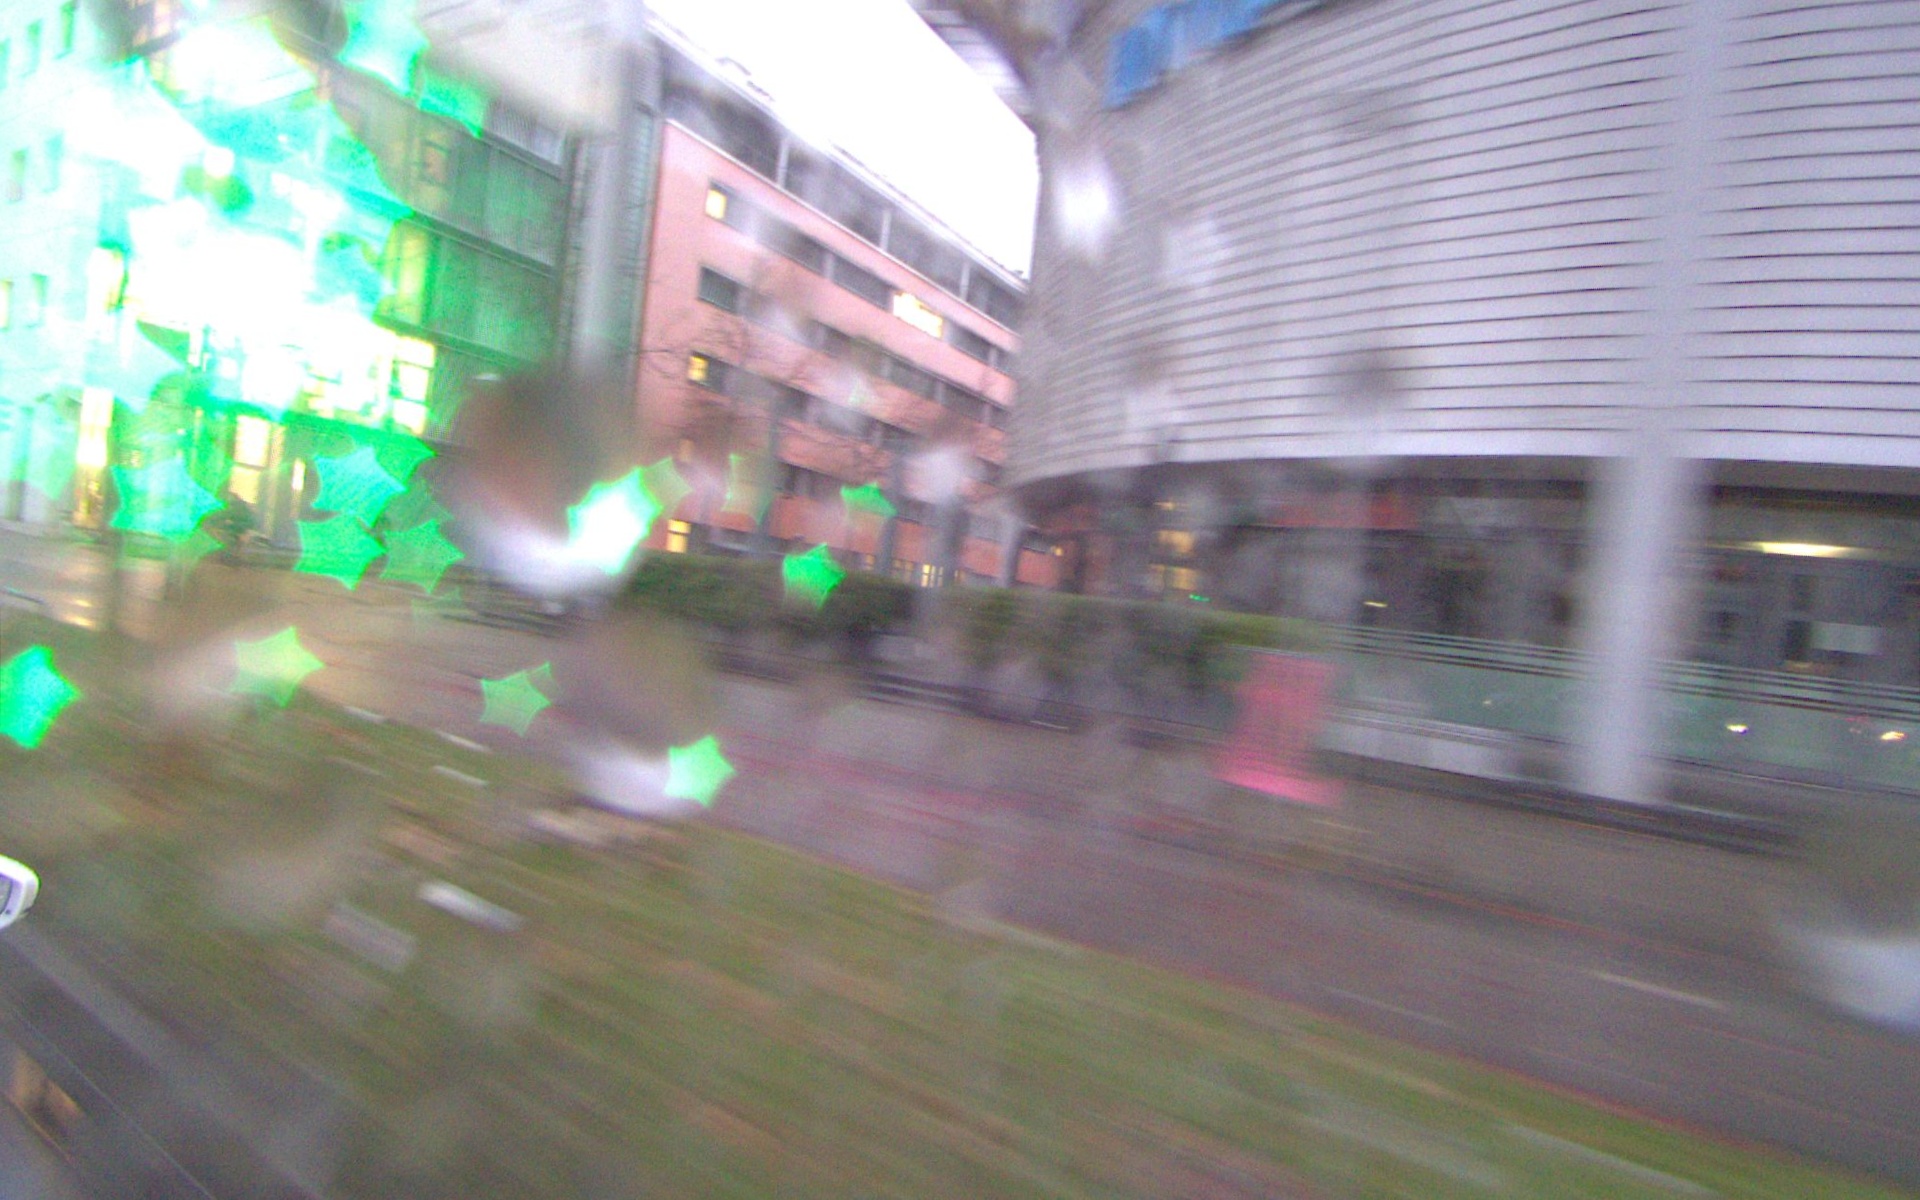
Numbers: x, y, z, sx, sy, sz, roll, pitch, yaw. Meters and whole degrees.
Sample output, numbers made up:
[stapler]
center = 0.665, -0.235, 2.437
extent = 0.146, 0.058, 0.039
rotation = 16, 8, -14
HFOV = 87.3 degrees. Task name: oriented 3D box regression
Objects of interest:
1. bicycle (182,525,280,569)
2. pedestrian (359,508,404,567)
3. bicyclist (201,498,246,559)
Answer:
[bicycle]
center = -17.256, -1.246, 23.845
extent = 1.713, 0.754, 0.648
rotation = 9, -1, -25
[pedestrian]
center = -18.058, -1.946, 31.389
extent = 0.715, 1.673, 0.808
rotation = 7, -1, 34
[bicyclist]
center = -17.412, -1.678, 23.797
extent = 0.616, 1.346, 0.562
rotation = 8, -1, -25
